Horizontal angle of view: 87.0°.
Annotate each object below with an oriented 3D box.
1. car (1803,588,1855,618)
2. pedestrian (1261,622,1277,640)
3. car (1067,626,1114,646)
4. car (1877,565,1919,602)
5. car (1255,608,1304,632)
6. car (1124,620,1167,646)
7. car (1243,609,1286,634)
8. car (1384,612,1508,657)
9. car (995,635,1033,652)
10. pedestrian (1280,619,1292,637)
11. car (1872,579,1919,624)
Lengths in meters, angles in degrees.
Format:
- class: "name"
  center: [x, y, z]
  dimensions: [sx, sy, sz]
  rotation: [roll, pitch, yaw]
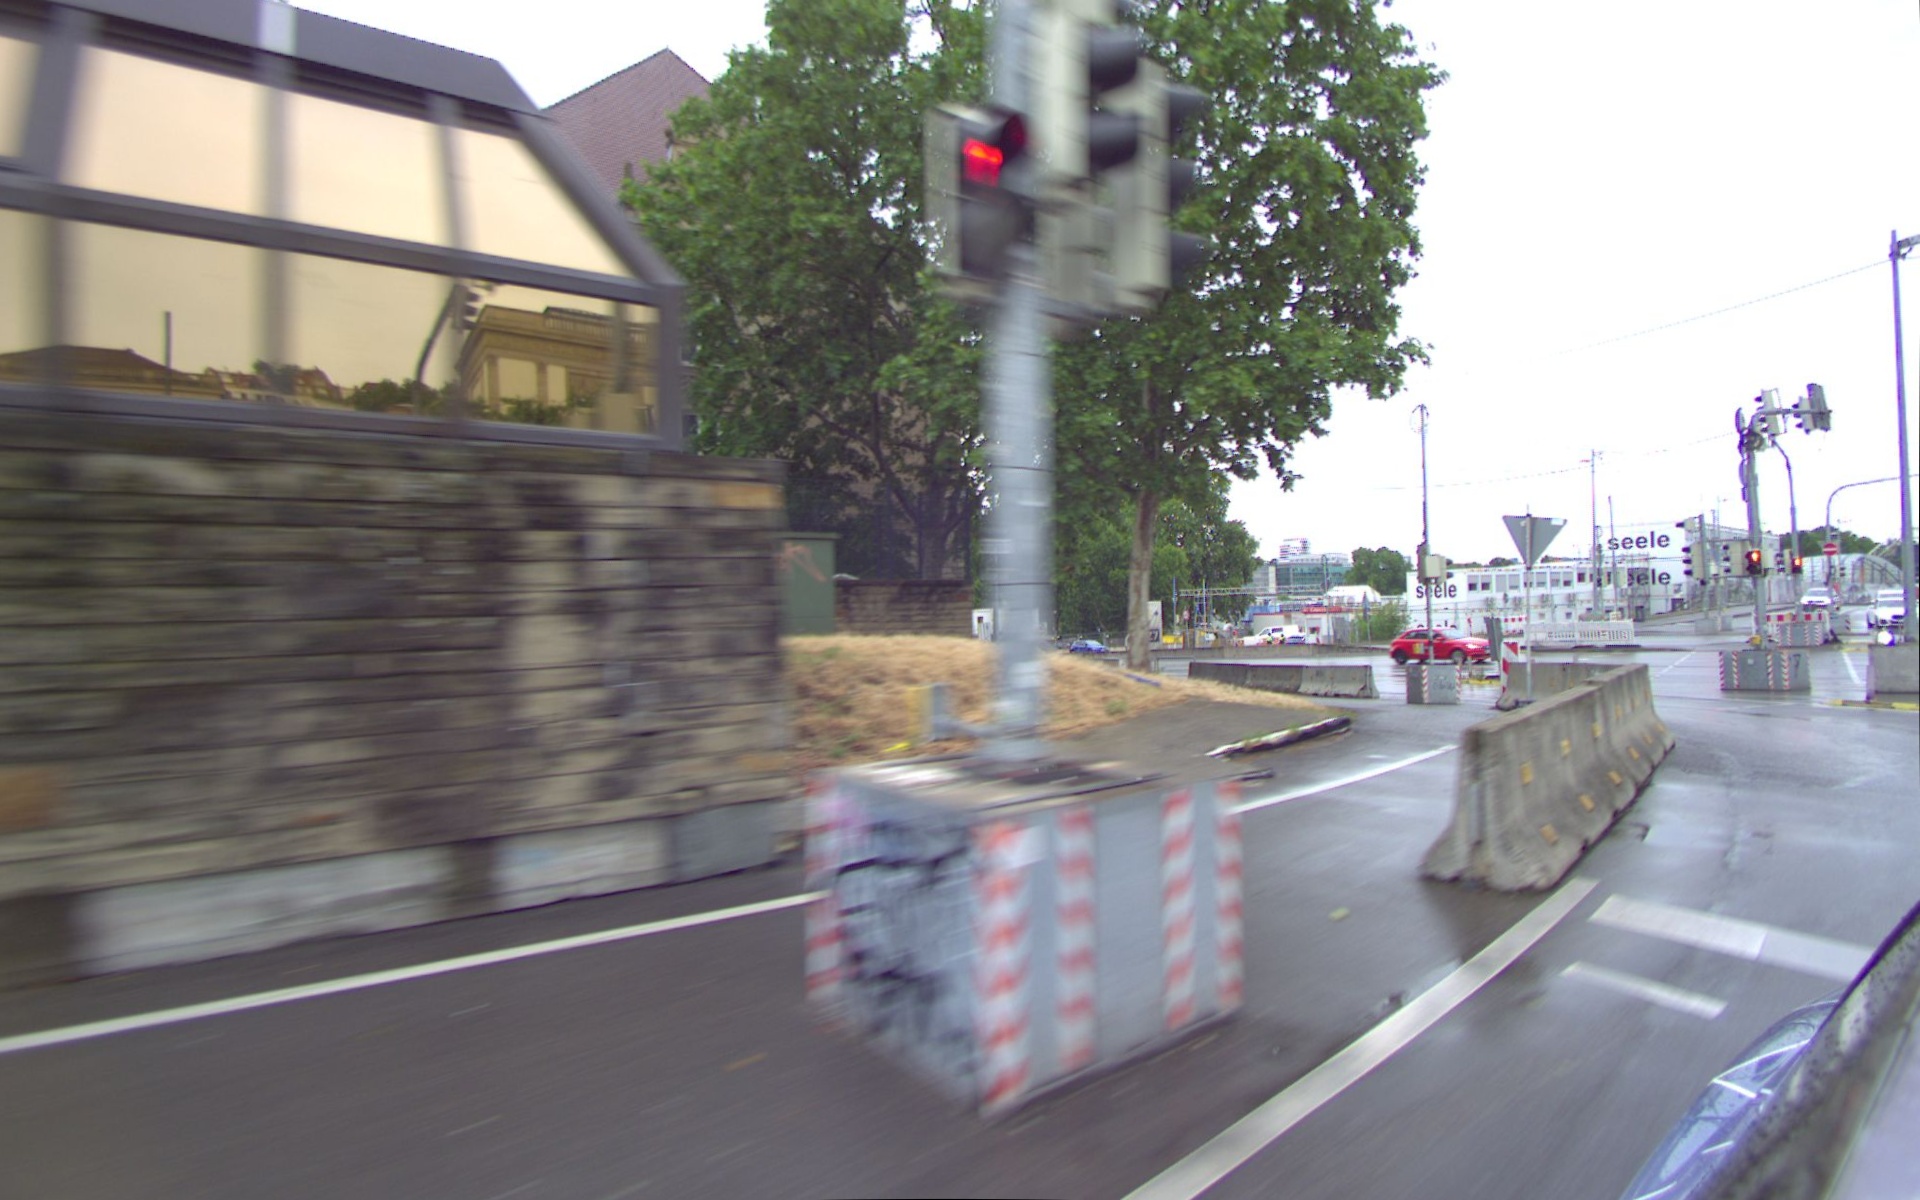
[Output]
- class: "car"
  center: [57.977, 0.178, 67.508]
  dimensions: [4.283, 1.795, 1.995]
  rotation: [-1, -3, -42]
- class: "pedestrian"
  center: [24.622, 2.494, 80.574]
  dimensions: [0.730, 1.370, 0.839]
  rotation: [-2, -3, -26]
- class: "car"
  center: [11.333, 3.166, 88.255]
  dimensions: [1.804, 1.509, 4.444]
  rotation: [-2, -2, -27]
- class: "car"
  center: [51.557, -0.903, 55.271]
  dimensions: [1.992, 1.795, 4.289]
  rotation: [-5, -3, 43]
- class: "car"
  center: [35.063, 2.185, 111.227]
  dimensions: [4.891, 2.415, 1.985]
  rotation: [-4, -3, 22]
- class: "car"
  center: [18.512, 3.275, 101.342]
  dimensions: [1.961, 2.415, 4.001]
  rotation: [-1, -3, -31]
- class: "car"
  center: [32.911, 2.327, 109.443]
  dimensions: [3.967, 2.415, 1.977]
  rotation: [-4, -3, 32]
- class: "car"
  center: [18.966, 1.370, 39.666]
  dimensions: [1.659, 1.572, 3.997]
  rotation: [-2, -3, -35]
- class: "car"
  center: [5.300, 4.282, 100.218]
  dimensions: [1.804, 1.509, 4.444]
  rotation: [-2, -2, -26]
- class: "pedestrian"
  center: [26.046, 2.218, 80.873]
  dimensions: [0.736, 1.370, 0.831]
  rotation: [-4, -3, 22]
- class: "car"
  center: [46.050, 0.055, 48.995]
  dimensions: [1.985, 2.040, 4.370]
  rotation: [-4, -3, 33]
